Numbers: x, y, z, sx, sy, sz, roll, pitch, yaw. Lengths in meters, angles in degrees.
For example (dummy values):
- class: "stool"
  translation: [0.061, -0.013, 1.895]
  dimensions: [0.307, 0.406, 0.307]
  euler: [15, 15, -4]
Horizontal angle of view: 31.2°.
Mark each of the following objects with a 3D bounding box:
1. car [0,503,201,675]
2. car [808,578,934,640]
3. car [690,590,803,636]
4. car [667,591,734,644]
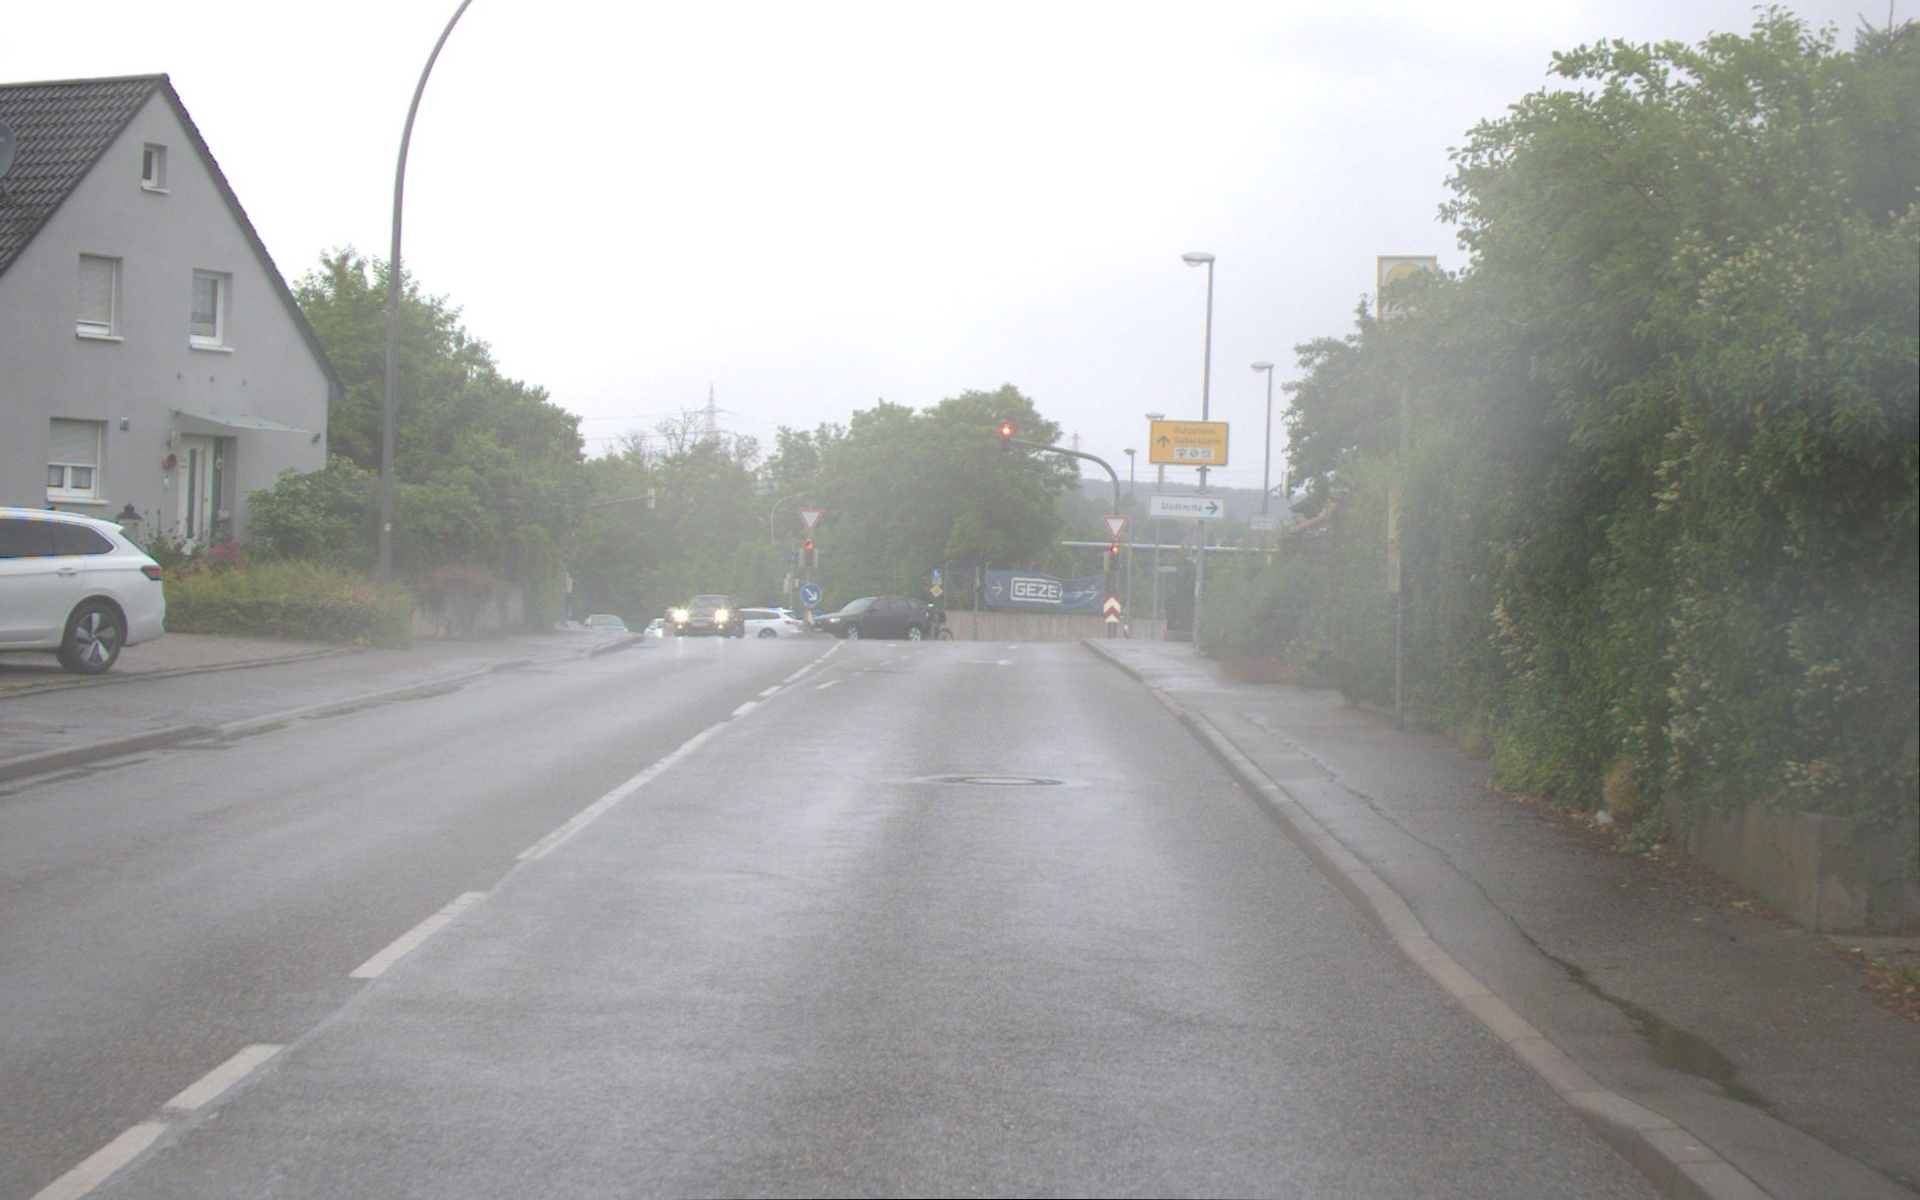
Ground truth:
- class: "car"
  translation: [-9.276, -0.130, 30.661]
  dimensions: [1.905, 1.472, 4.872]
  euler: [4, 2, 34]
- class: "car"
  translation: [-3.066, 0.304, 118.598]
  dimensions: [3.985, 2.007, 1.778]
  euler: [2, 1, -14]
- class: "car"
  translation: [-8.229, 0.502, 132.796]
  dimensions: [3.988, 1.612, 1.943]
  euler: [1, 3, 10]
- class: "car"
  translation: [-8.125, 0.539, 107.940]
  dimensions: [1.805, 1.518, 4.000]
  euler: [2, 1, -1]
